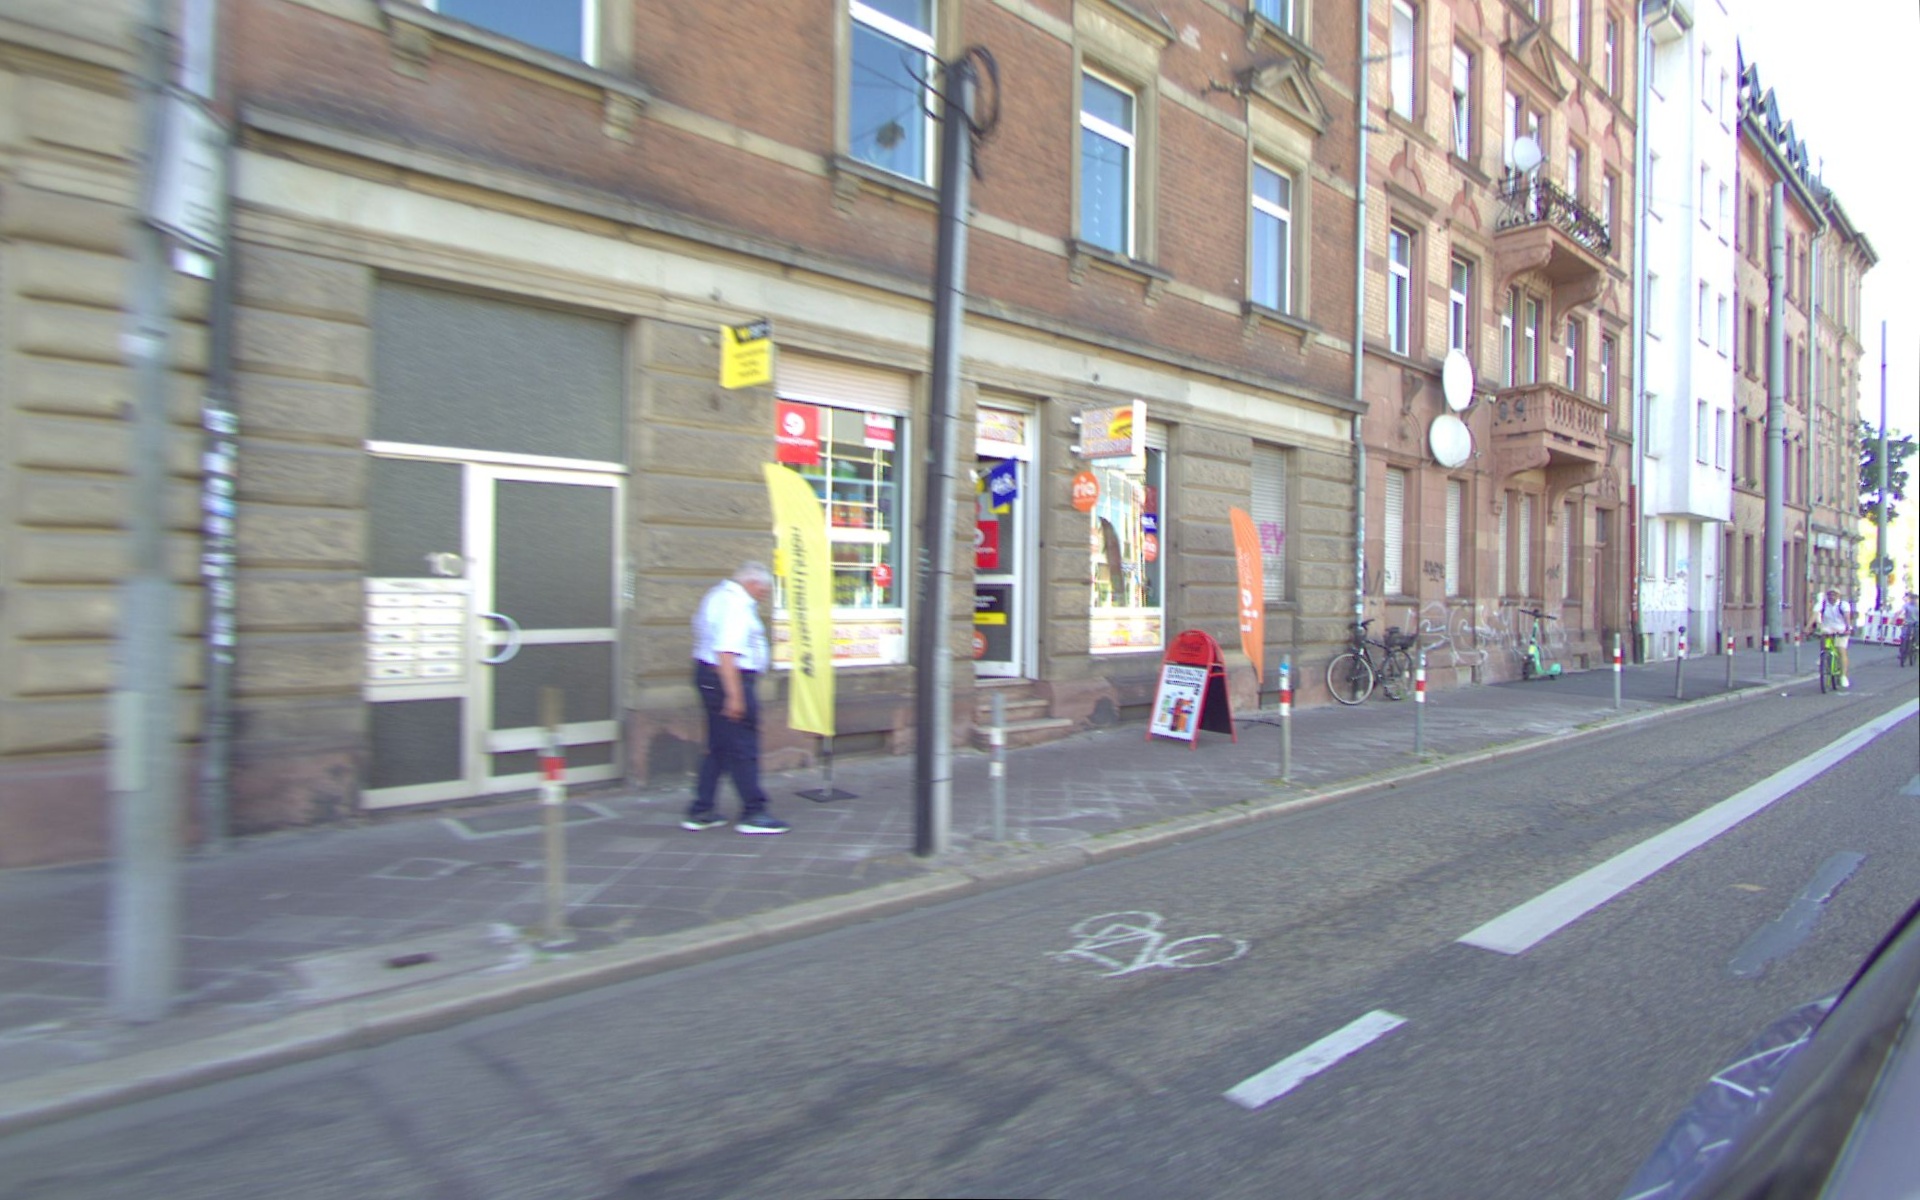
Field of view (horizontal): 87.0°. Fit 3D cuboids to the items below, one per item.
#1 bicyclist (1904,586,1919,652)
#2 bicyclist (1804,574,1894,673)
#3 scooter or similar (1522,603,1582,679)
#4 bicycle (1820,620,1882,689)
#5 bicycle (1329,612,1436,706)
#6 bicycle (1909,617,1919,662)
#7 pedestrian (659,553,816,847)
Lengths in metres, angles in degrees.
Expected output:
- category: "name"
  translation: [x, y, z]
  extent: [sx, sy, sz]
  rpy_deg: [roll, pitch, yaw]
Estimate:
- category: "bicyclist"
  translation: [23.944, 0.472, 25.008]
  extent: [0.870, 1.613, 0.784]
  rpy_deg: [1, -1, -39]
- category: "bicyclist"
  translation: [15.783, 0.409, 17.984]
  extent: [1.096, 1.705, 0.684]
  rpy_deg: [-1, -1, -18]
- category: "scooter or similar"
  translation: [10.220, 0.683, 17.455]
  extent: [1.454, 1.226, 0.407]
  rpy_deg: [0, 1, -40]
- category: "bicycle"
  translation: [15.757, 0.943, 17.875]
  extent: [1.900, 1.132, 0.532]
  rpy_deg: [0, -2, -41]
- category: "bicycle"
  translation: [5.673, 0.760, 13.543]
  extent: [1.862, 1.135, 0.411]
  rpy_deg: [-1, 2, -37]
- category: "bicycle"
  translation: [23.983, 0.958, 25.093]
  extent: [1.899, 1.082, 0.387]
  rpy_deg: [0, 0, -39]
- category: "pedestrian"
  translation: [-1.350, 0.548, 6.106]
  extent: [0.640, 1.625, 0.800]
  rpy_deg: [0, 0, -38]
